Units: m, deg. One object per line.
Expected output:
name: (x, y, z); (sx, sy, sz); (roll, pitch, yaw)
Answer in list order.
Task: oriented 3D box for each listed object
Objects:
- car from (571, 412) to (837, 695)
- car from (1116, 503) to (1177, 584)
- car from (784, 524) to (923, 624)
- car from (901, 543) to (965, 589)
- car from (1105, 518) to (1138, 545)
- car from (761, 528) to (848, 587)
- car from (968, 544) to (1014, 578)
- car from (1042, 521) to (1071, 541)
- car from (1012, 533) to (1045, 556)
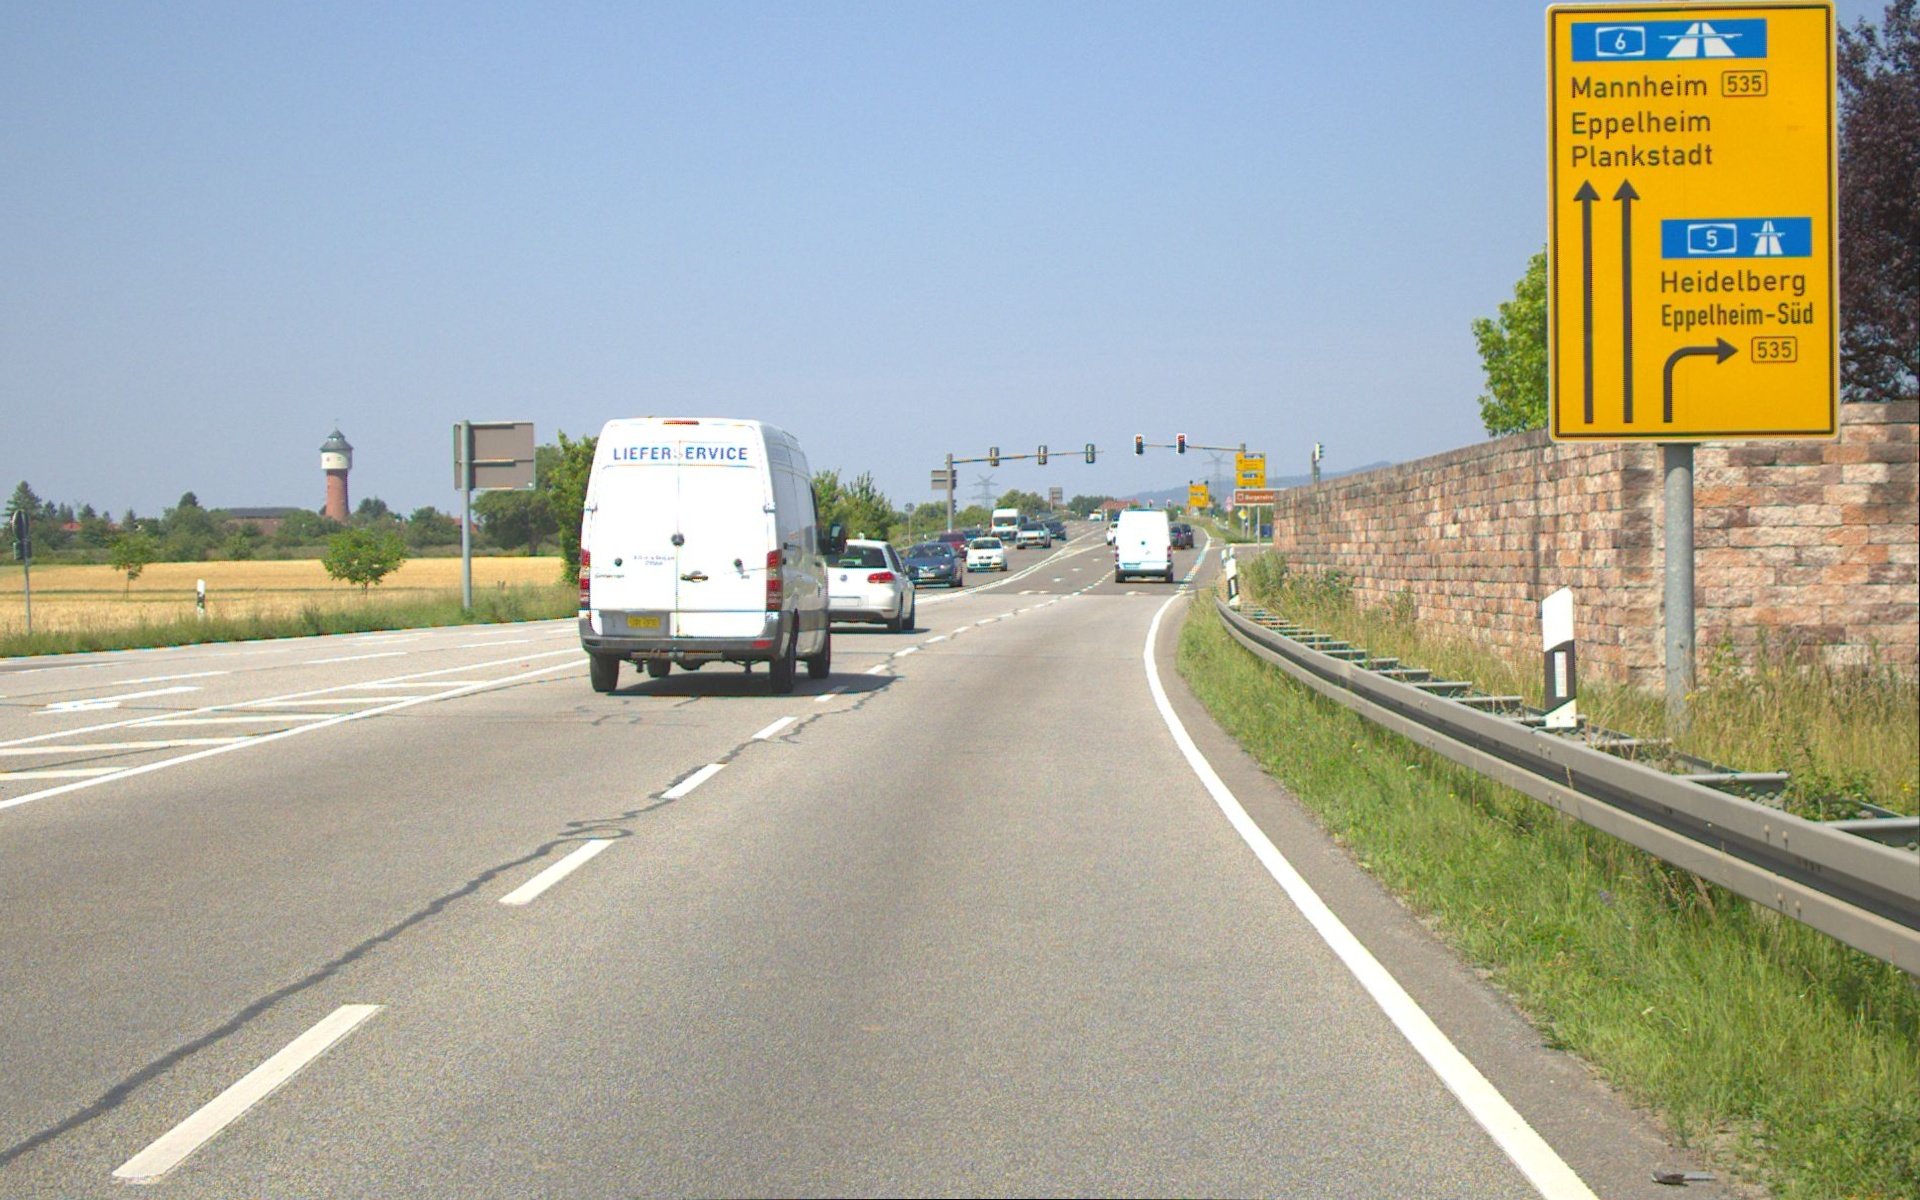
car: (-2.486, -0.483, 34.880); (2.039, 2.611, 5.741); (1, 1, 2)
car: (6.564, -1.952, 120.643); (1.994, 2.686, 4.969); (1, 0, 4)
car: (-1.667, -0.447, 55.088); (1.799, 1.503, 4.196); (0, 1, 4)
car: (-0.851, -1.104, 110.701); (1.749, 1.437, 4.081); (0, 1, 4)
car: (10.590, -4.492, 225.483); (1.994, 1.697, 4.274); (1, 0, 5)
car: (-3.989, -1.121, 88.819); (1.759, 1.452, 4.230); (-1, 1, 4)
car: (1.361, -1.680, 148.006); (1.749, 1.437, 4.081); (0, 0, 4)
car: (7.288, -5.193, 259.028); (1.857, 1.418, 3.999); (1, 0, 5)
car: (4.461, -3.581, 222.841); (1.857, 1.418, 3.999); (-1, 1, 5)
